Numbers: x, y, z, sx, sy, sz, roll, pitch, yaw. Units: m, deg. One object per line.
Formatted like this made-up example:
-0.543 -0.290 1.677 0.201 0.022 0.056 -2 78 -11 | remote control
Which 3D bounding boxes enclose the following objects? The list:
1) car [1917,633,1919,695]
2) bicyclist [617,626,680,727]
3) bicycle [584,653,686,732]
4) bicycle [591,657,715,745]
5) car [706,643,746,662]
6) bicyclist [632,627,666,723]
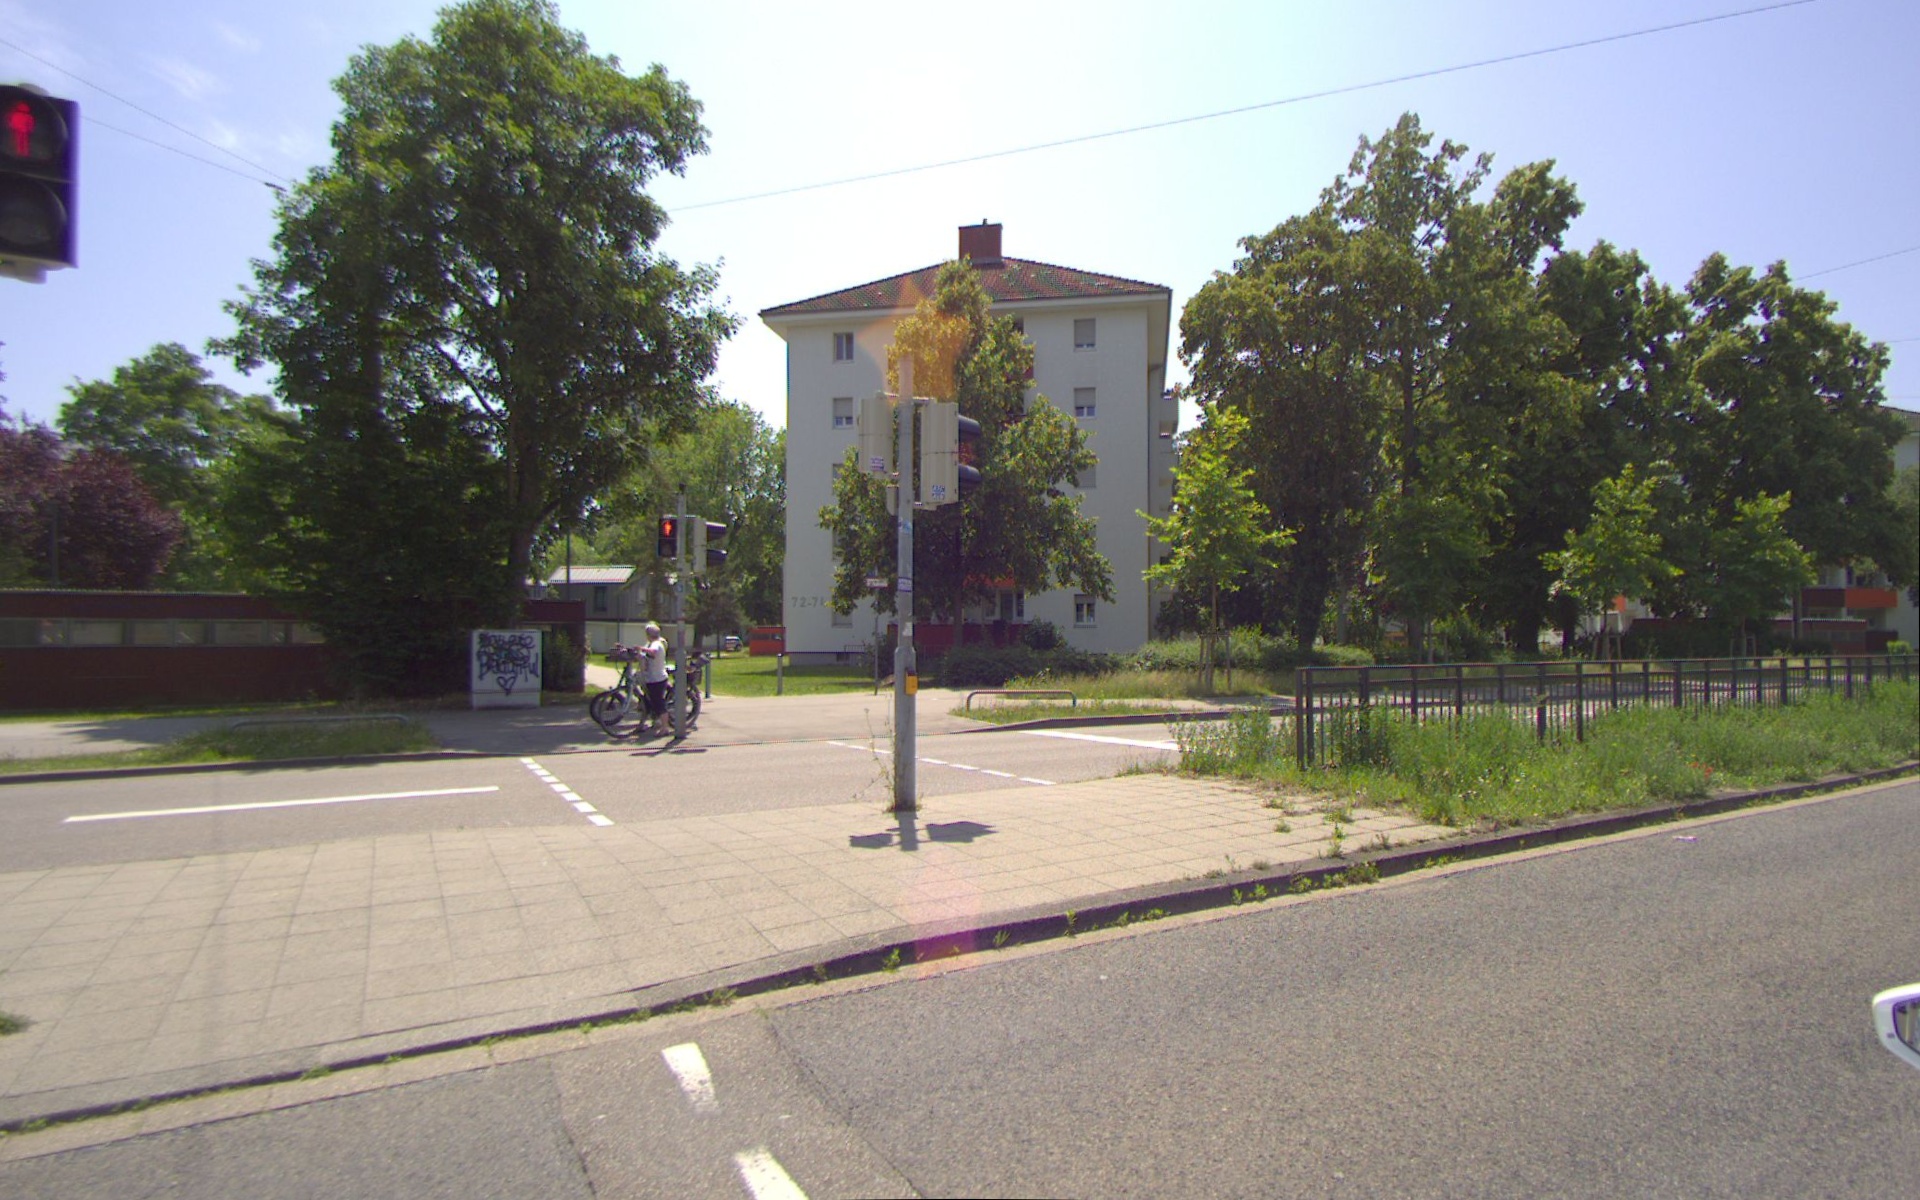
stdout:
26.548 1.629 25.886 4.114 1.563 1.747 1 -2 -32 | car
-4.376 1.054 14.092 0.746 1.363 0.542 1 -2 -30 | bicyclist
-4.855 1.369 15.026 1.362 1.109 0.551 2 -1 -29 | bicycle
-4.310 1.395 14.132 1.596 1.148 0.586 1 -2 -30 | bicycle
-27.206 6.143 116.836 3.919 2.040 2.001 1 -1 10 | car
-4.680 1.118 15.108 0.435 1.410 0.356 1 0 -27 | bicyclist
